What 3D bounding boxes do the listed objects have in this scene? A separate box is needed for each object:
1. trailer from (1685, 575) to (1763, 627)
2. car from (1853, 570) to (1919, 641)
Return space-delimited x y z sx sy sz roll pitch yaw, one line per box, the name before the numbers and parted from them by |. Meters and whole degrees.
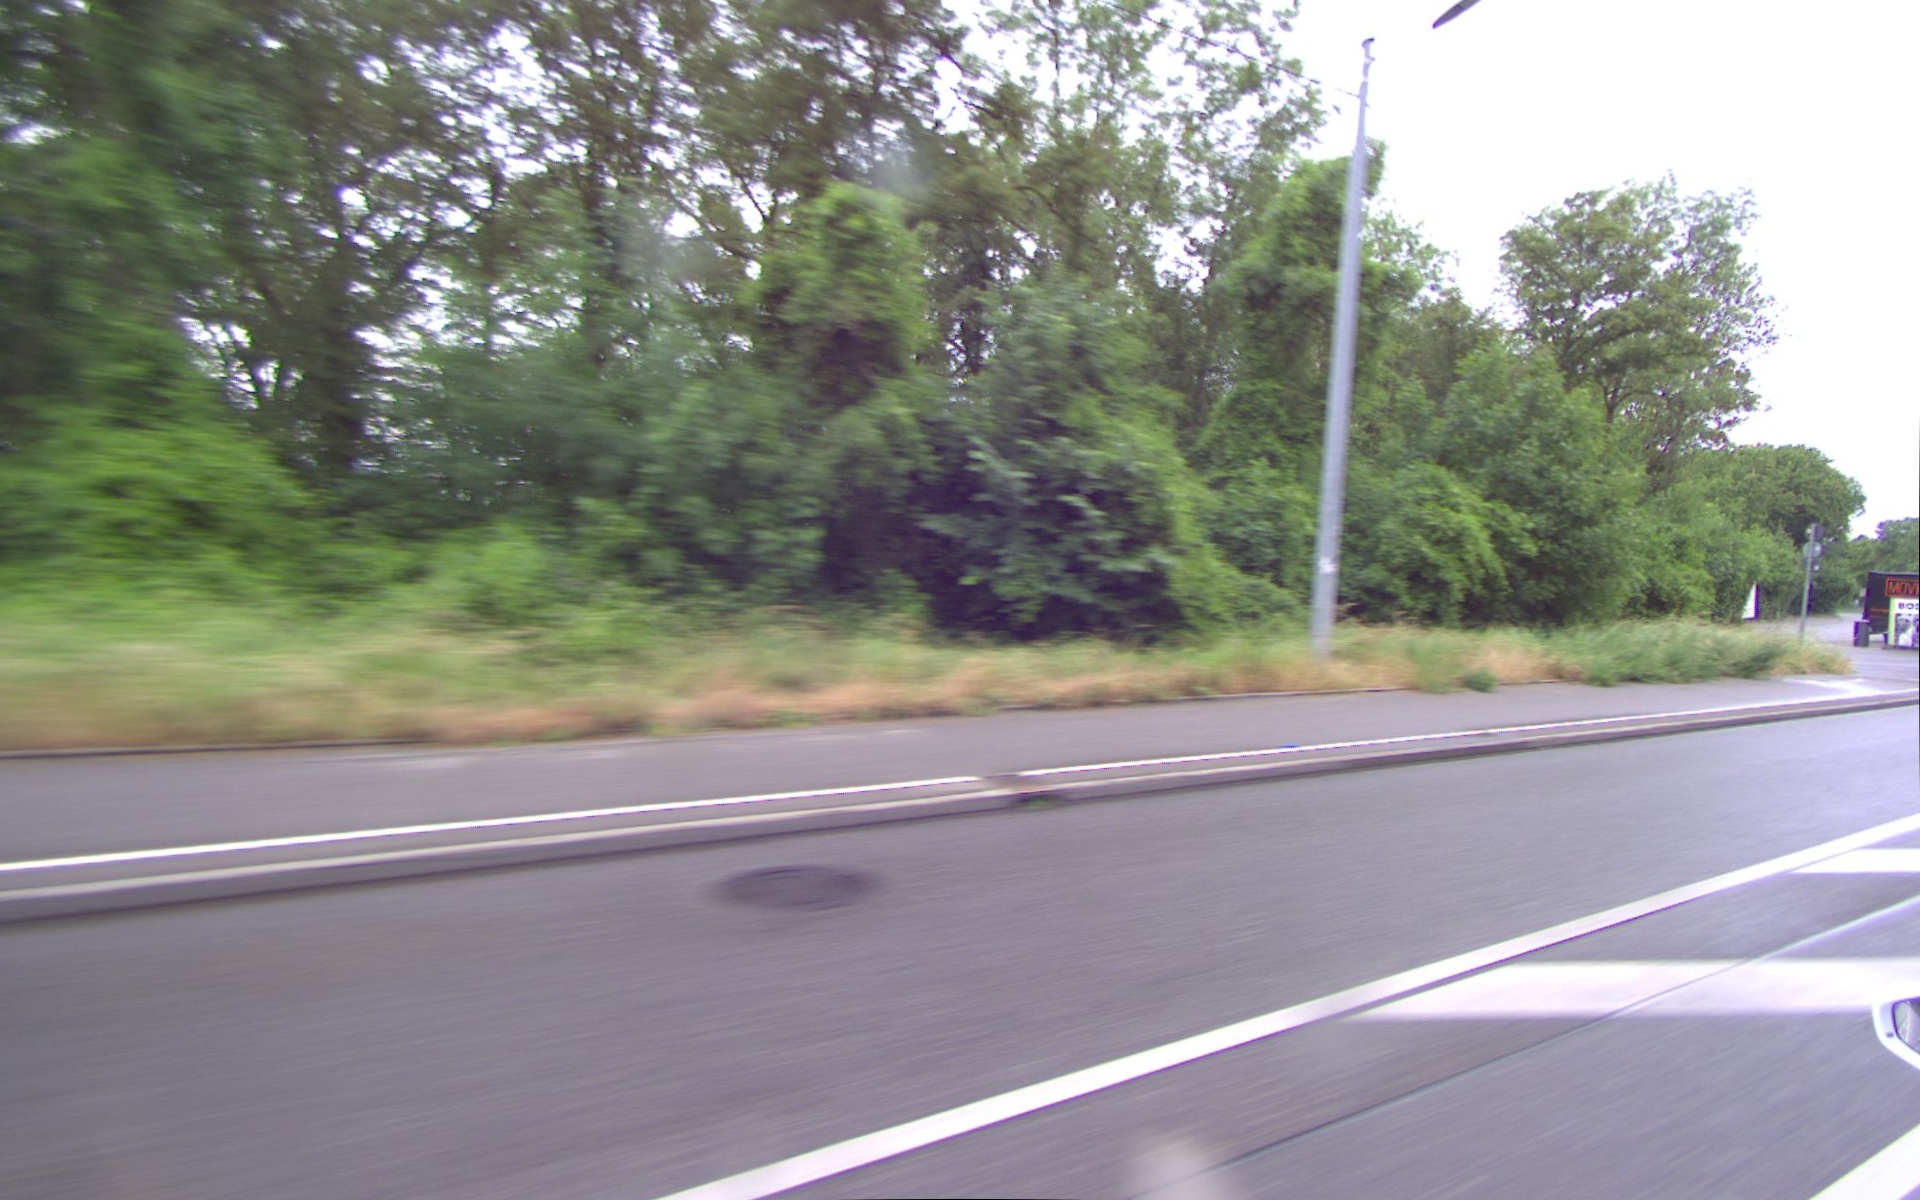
trailer | 46.281 0.084 60.759 7.921 2.912 2.452 1 1 -43
car | 44.873 0.324 45.519 2.732 3.155 6.213 2 1 -42
